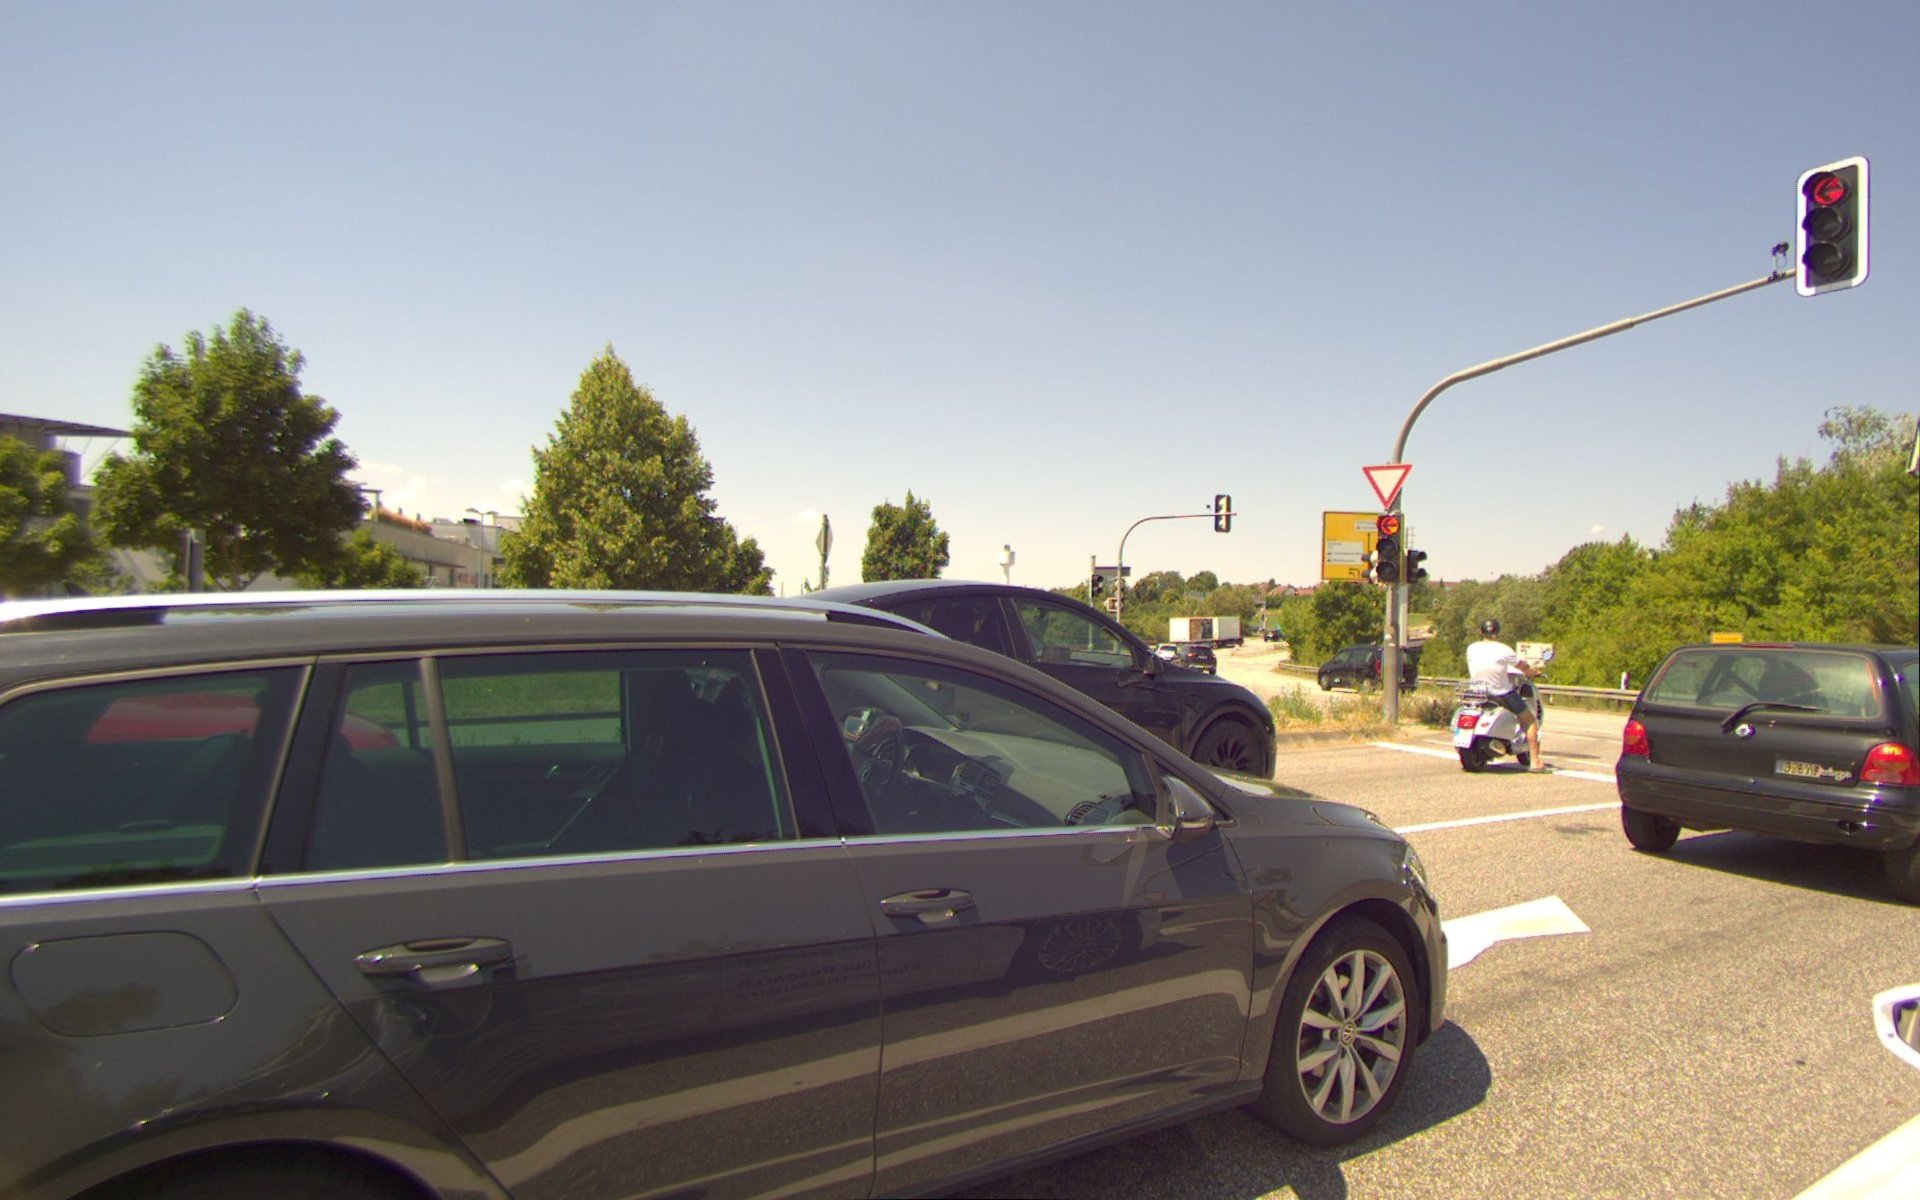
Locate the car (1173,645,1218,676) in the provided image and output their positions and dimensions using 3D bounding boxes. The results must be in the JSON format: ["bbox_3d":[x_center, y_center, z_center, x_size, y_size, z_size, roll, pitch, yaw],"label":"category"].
[{"bbox_3d":[13.427,3.409,57.366,1.845,1.644,4.002,0,-2,3],"label":"car"}]

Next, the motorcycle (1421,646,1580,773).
[{"bbox_3d":[5.867,1.165,10.863,1.919,1.254,0.573,3,-1,-30],"label":"motorcycle"}]

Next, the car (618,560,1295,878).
[{"bbox_3d":[0.108,0.680,7.095,4.456,1.622,1.865,2,-1,-32],"label":"car"}]

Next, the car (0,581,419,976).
[{"bbox_3d":[-4.647,0.614,3.876,4.400,1.407,1.652,2,0,-32],"label":"car"}]

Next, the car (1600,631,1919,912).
[{"bbox_3d":[6.024,0.974,6.744,3.262,1.426,1.611,2,-1,-30],"label":"car"}]

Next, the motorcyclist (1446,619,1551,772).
[{"bbox_3d":[5.816,1.015,10.845,0.837,1.560,0.608,3,-1,-30],"label":"motorcyclist"}]

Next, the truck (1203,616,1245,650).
[{"bbox_3d":[35.050,4.355,133.094,3.191,4.305,6.212,1,0,37],"label":"truck"}]

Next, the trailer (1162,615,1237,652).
[{"bbox_3d":[30.443,4.188,127.031,3.191,4.305,15.347,1,0,37],"label":"trailer"}]

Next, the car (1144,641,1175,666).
[{"bbox_3d":[14.772,3.955,74.651,1.895,1.687,4.002,1,0,6],"label":"car"}]

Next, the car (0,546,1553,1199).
[{"bbox_3d":[-0.457,0.720,2.792,4.379,1.502,1.769,2,-1,-31],"label":"car"}]

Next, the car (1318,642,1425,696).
[{"bbox_3d":[15.288,2.538,37.562,1.851,1.754,3.995,4,-3,-8],"label":"car"}]
